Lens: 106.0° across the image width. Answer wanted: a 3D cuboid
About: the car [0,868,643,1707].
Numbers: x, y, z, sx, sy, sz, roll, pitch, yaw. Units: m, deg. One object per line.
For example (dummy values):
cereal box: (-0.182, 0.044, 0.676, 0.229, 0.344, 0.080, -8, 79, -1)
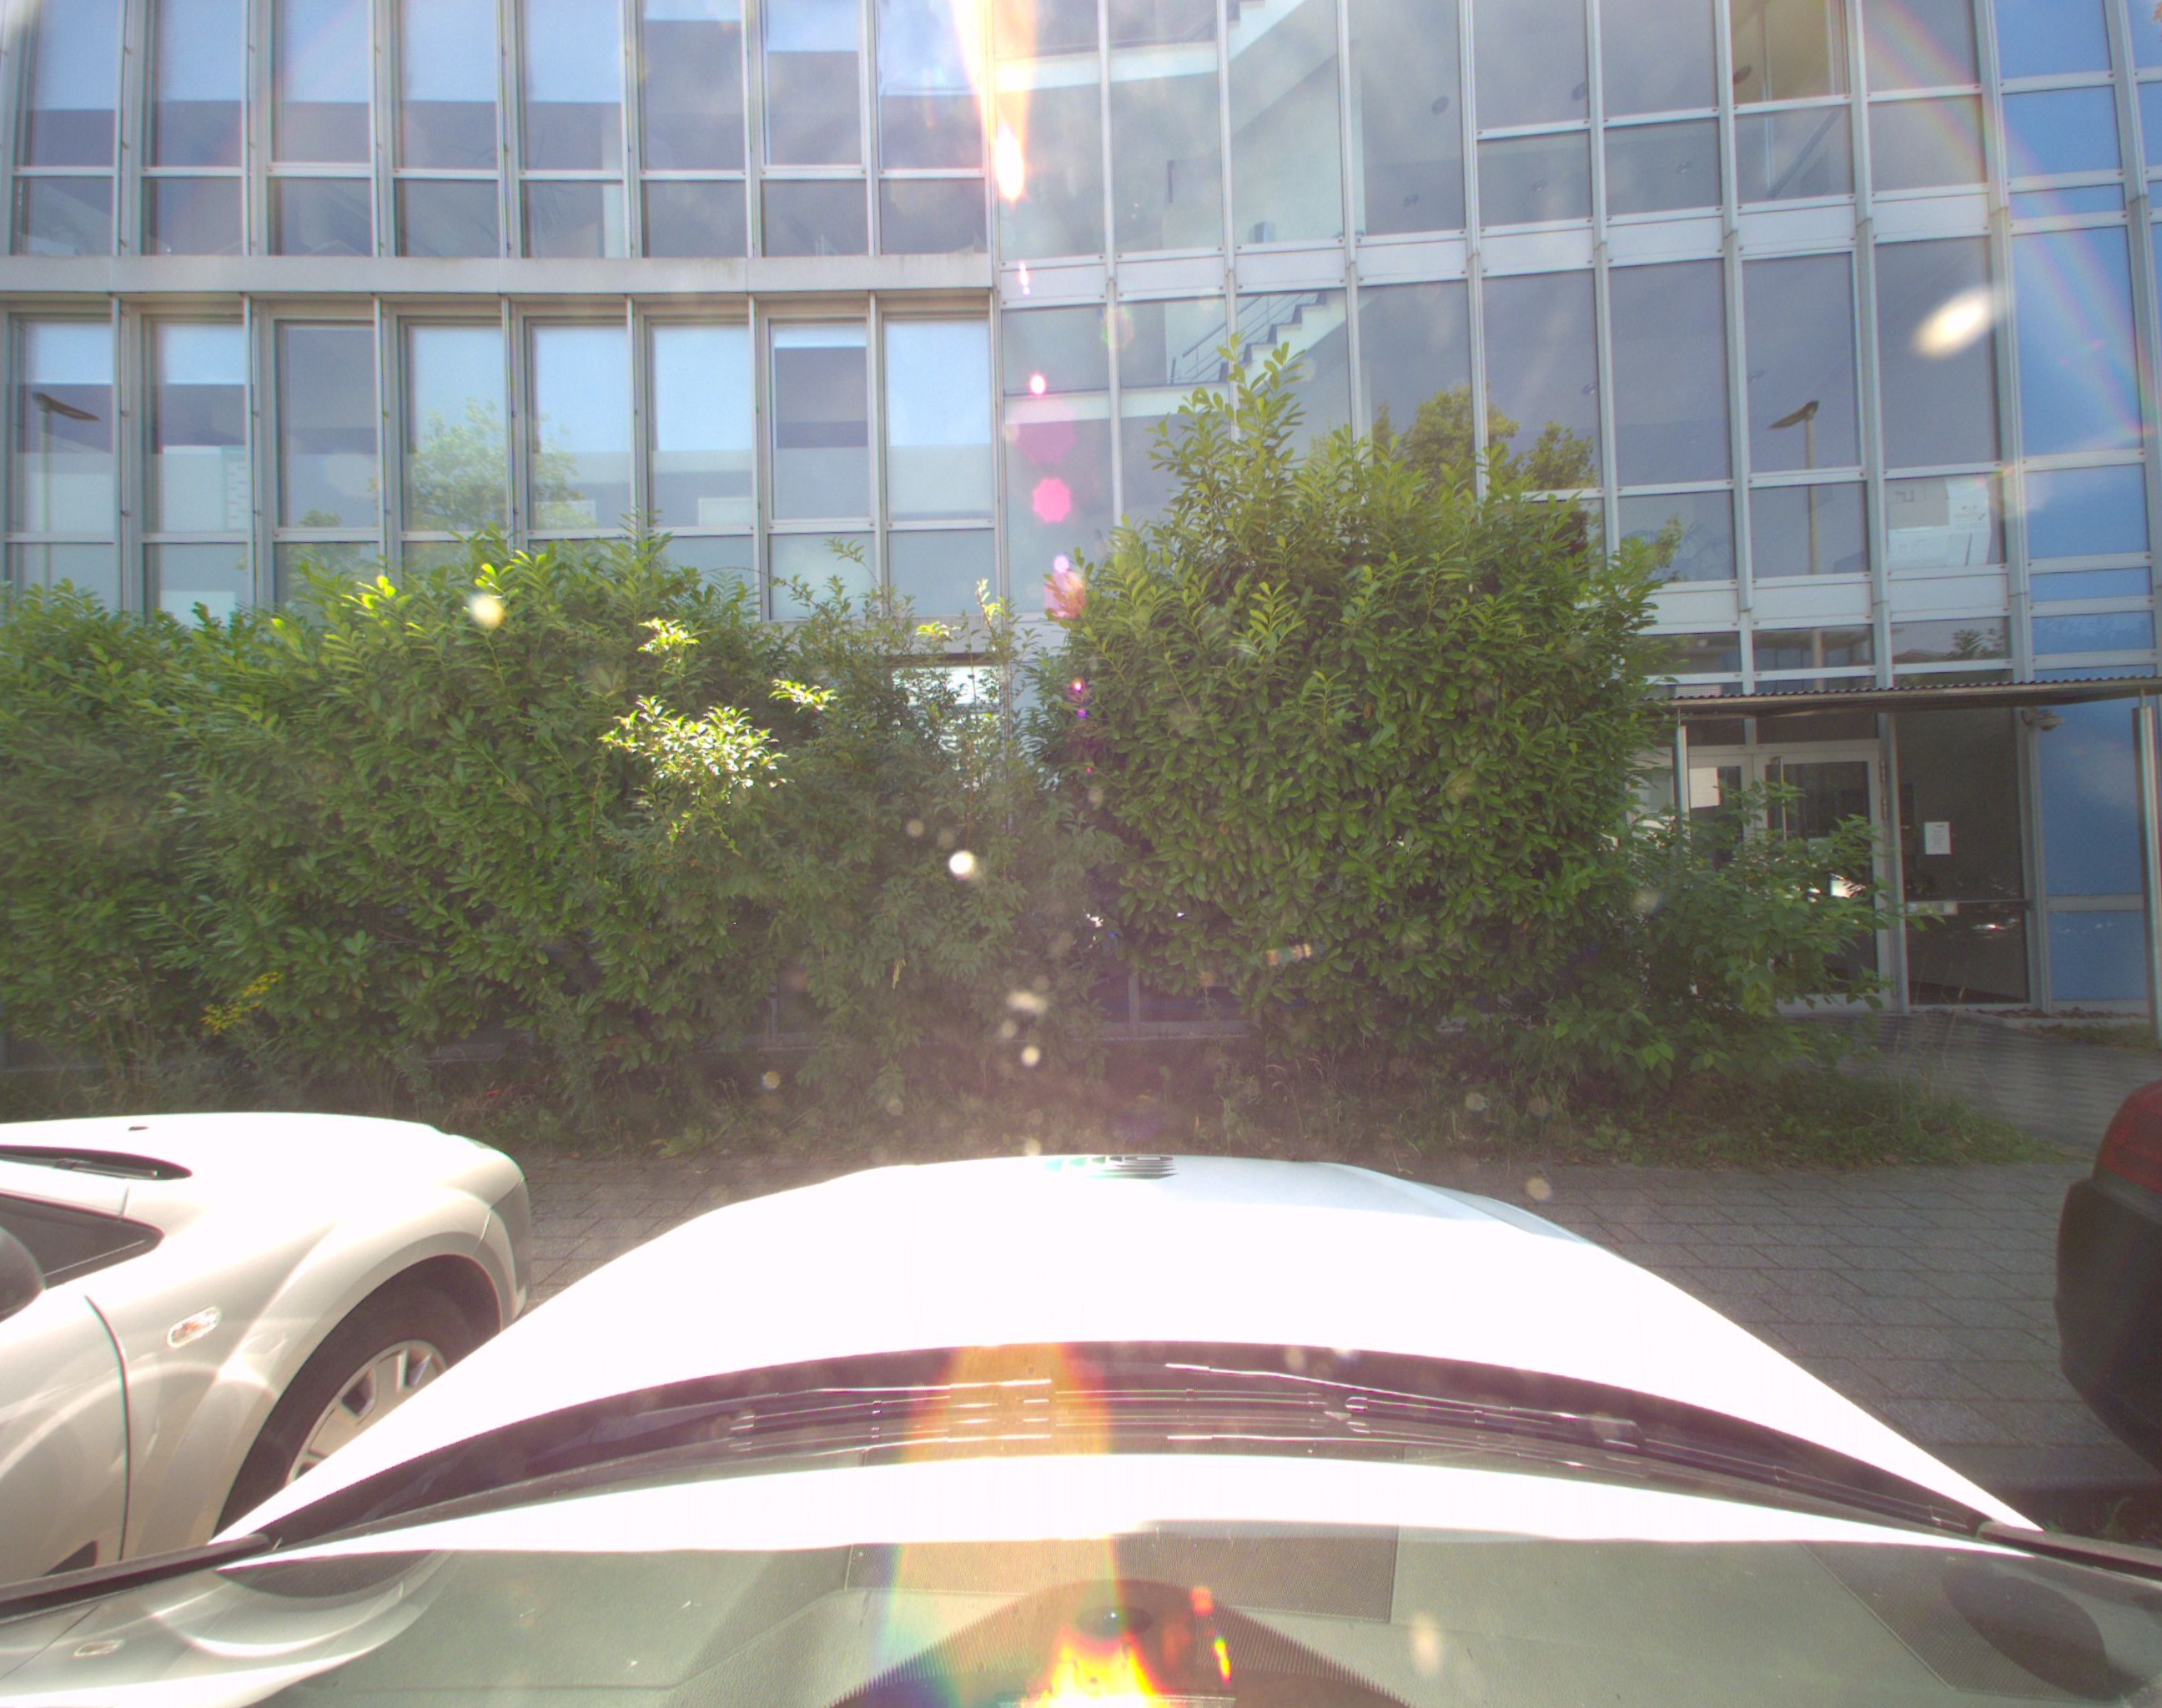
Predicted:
car: (-2.161, 0.785, 0.185, 1.713, 1.479, 4.349, -1, 0, 1)
